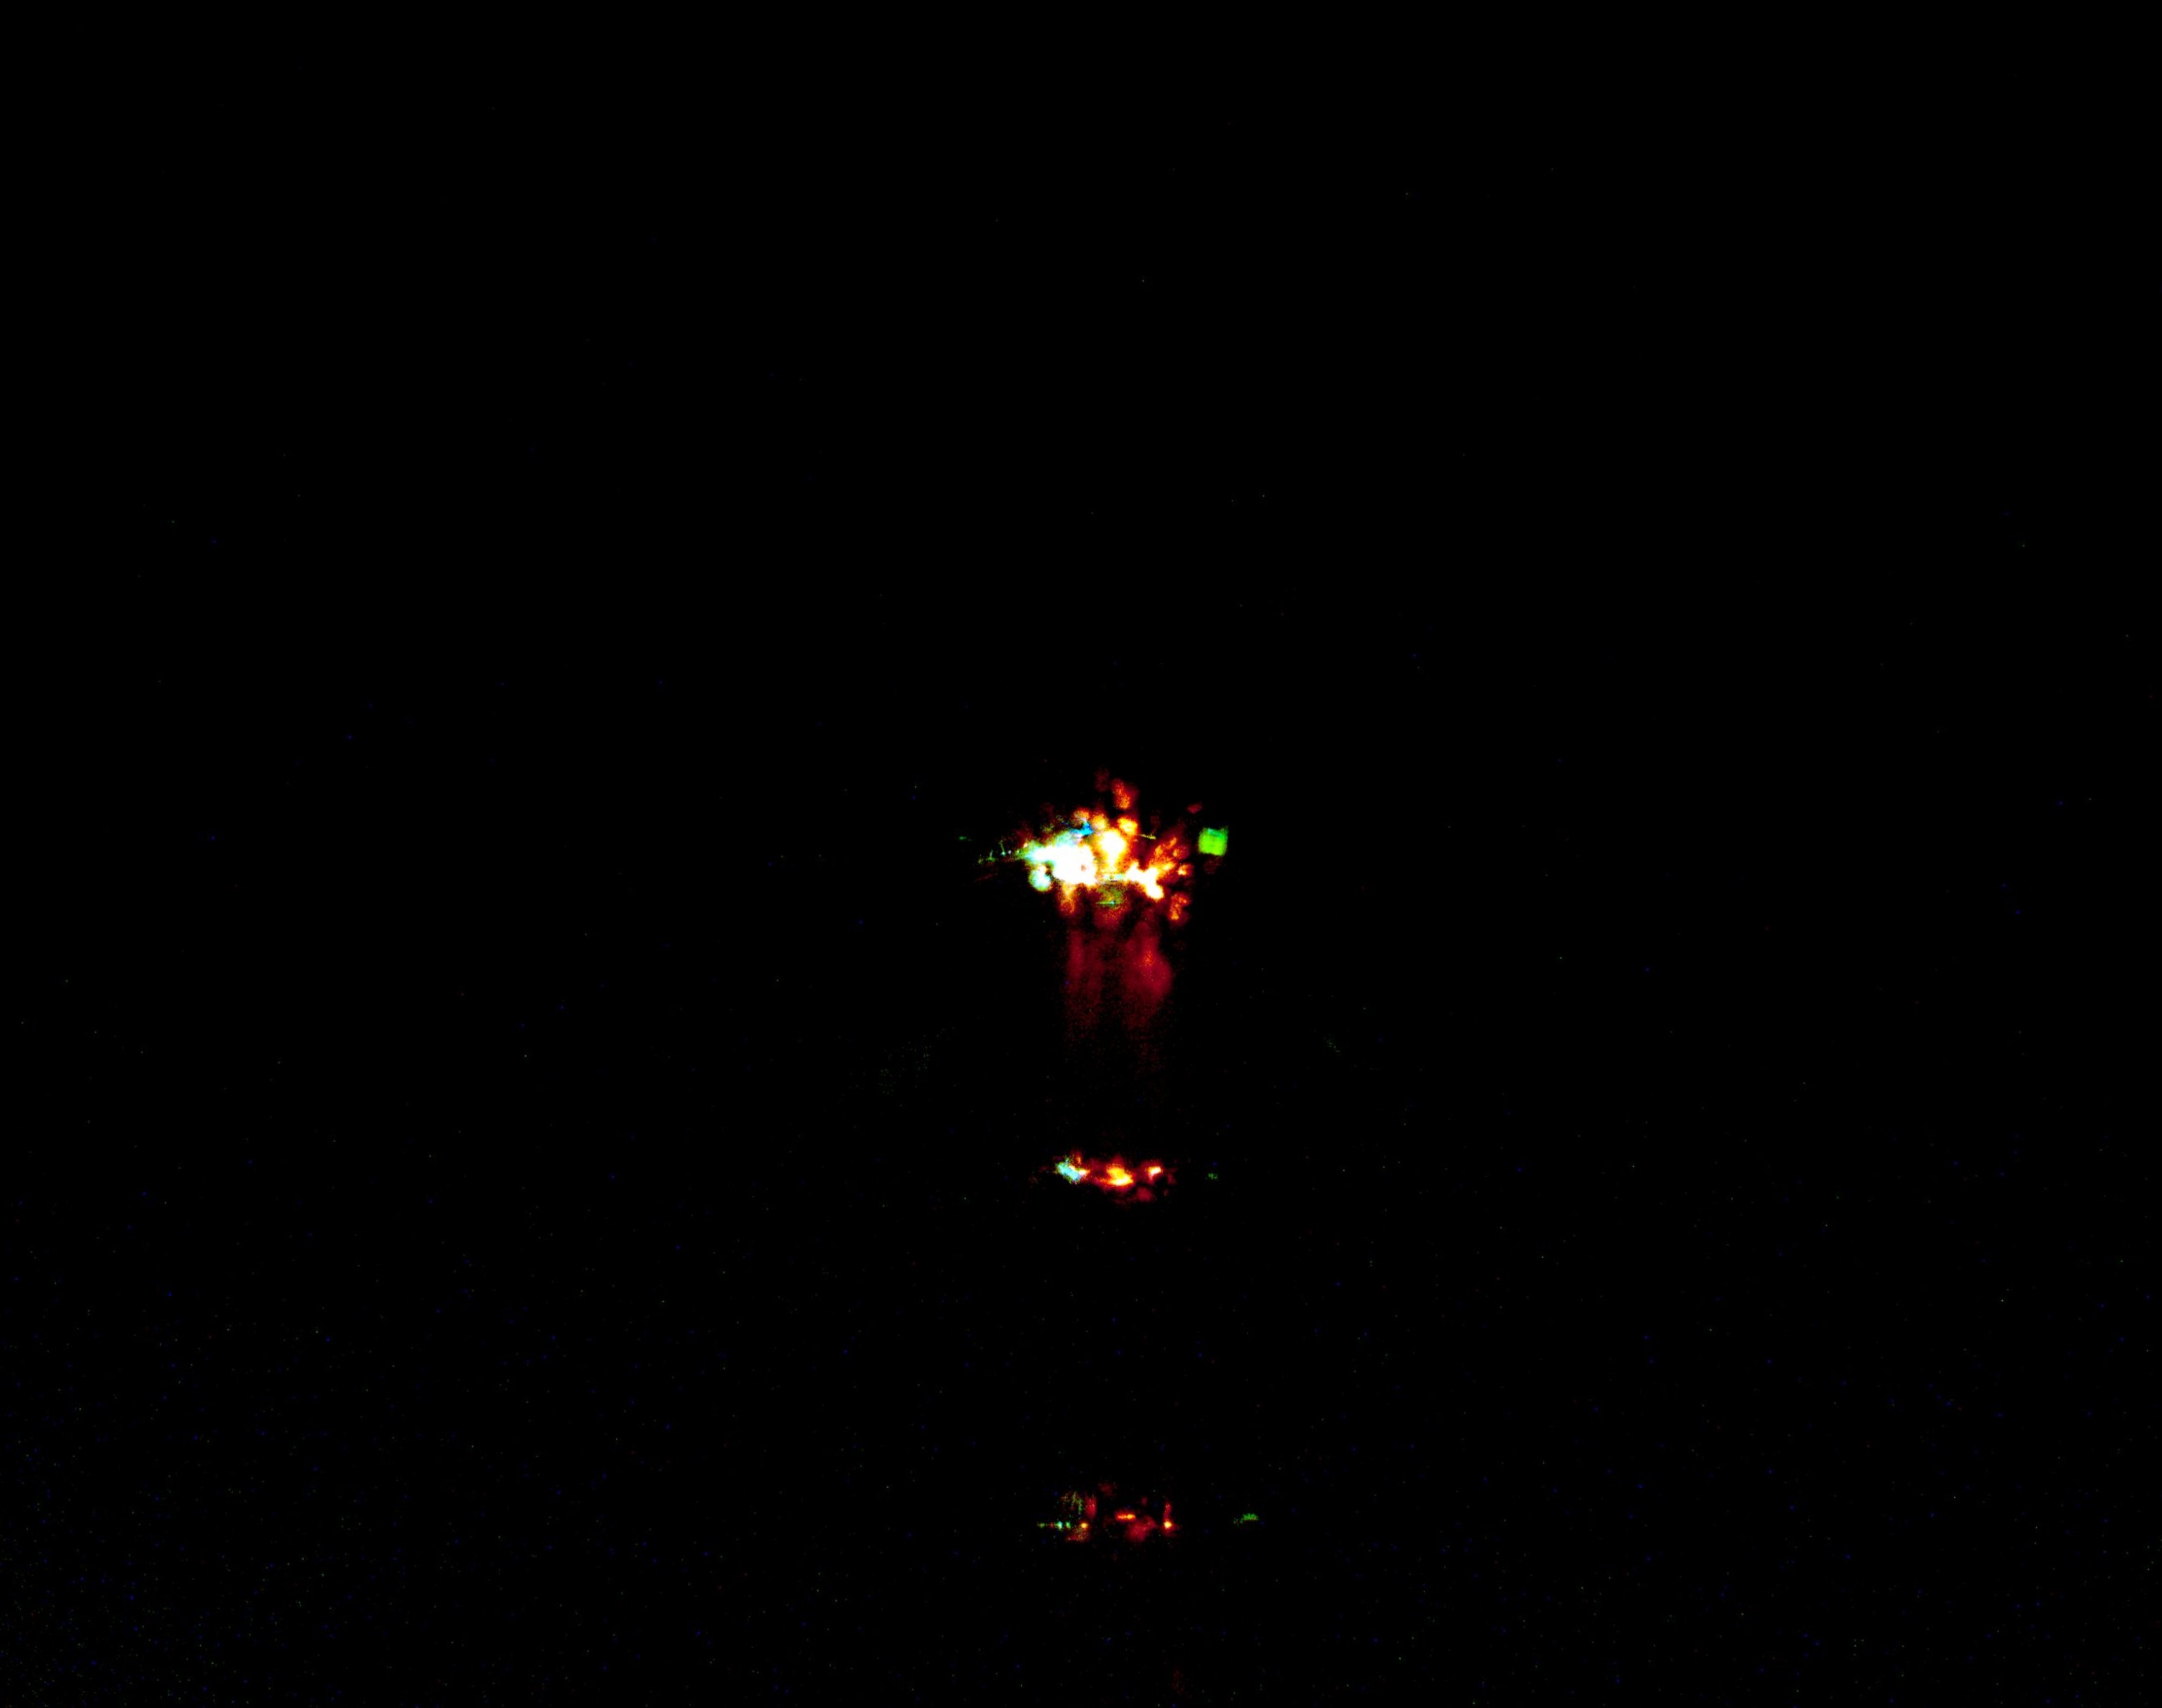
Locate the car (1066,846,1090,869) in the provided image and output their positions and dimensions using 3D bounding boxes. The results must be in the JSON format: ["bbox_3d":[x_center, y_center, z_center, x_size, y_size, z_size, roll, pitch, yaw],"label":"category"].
[{"bbox_3d":[-0.249,0.310,70.564,1.987,1.915,4.001,0,0,1],"label":"car"}]

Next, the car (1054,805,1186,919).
[{"bbox_3d":[0.879,0.137,19.877,2.705,2.307,6.102,-1,0,1],"label":"car"}]

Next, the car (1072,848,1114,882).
[{"bbox_3d":[0.524,0.501,40.075,1.874,1.580,4.782,0,0,-1],"label":"car"}]
